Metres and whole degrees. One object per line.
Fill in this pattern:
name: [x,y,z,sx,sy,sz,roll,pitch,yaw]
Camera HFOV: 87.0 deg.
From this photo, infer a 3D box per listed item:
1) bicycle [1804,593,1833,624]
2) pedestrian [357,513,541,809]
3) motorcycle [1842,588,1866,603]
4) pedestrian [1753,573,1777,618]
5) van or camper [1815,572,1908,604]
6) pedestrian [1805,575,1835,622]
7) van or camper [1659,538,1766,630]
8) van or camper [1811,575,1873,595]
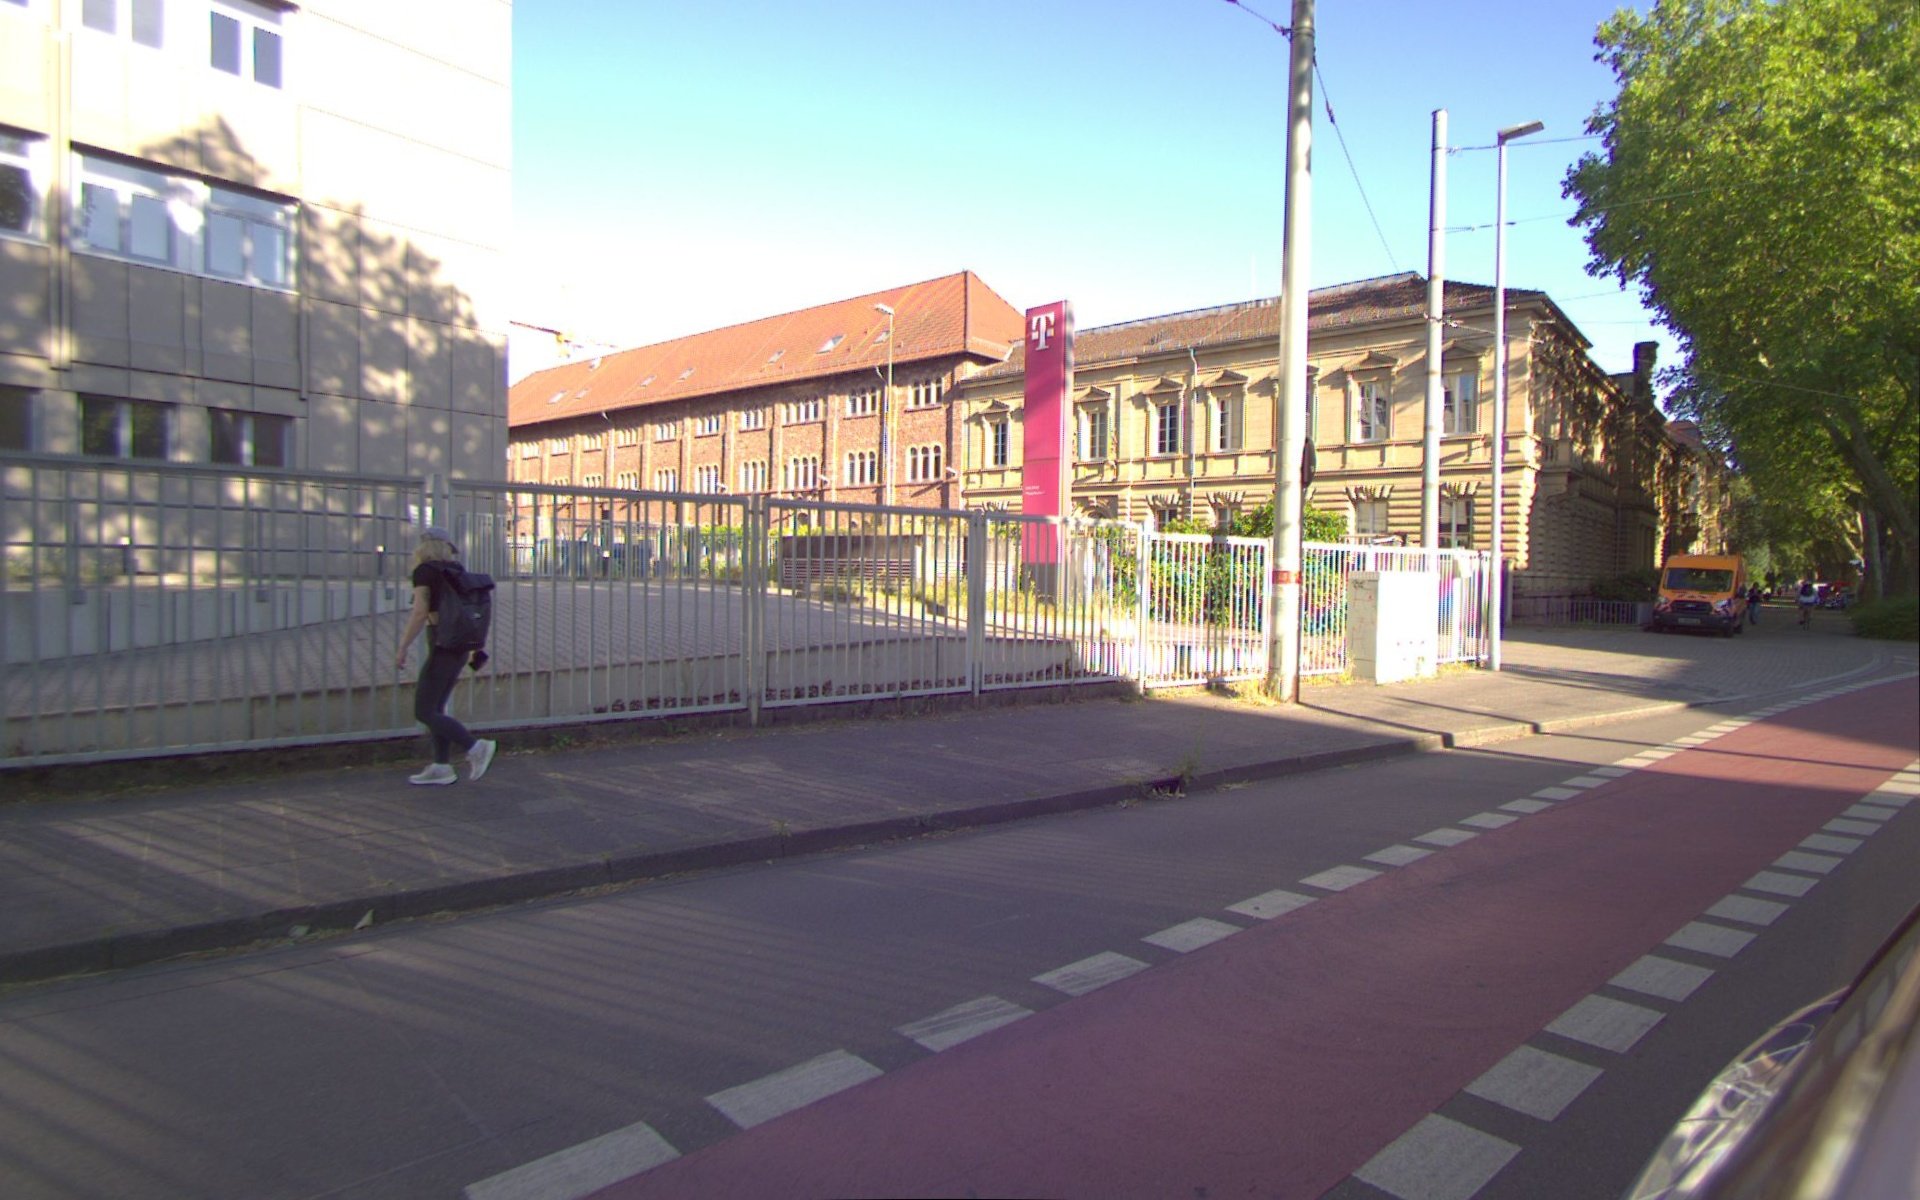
bicycle: [31.134,0.295,36.715,0.674,1.044,1.874,5,4,38]
pedestrian: [-3.227,0.336,6.386,0.913,1.705,0.698,0,2,-38]
motorcycle: [65.192,-0.347,73.802,1.249,1.067,0.395,1,1,5]
pedestrian: [32.087,-0.199,40.349,0.650,1.757,0.992,2,2,41]
van or camper: [78.746,-1.096,88.537,5.904,2.527,2.191,3,5,39]
pedestrian: [31.066,-0.077,36.586,0.668,1.638,1.087,5,4,38]
van or camper: [23.376,-0.532,31.350,2.035,2.591,5.684,3,2,42]
van or camper: [116.734,-1.991,134.079,6.081,2.461,2.392,3,2,42]
